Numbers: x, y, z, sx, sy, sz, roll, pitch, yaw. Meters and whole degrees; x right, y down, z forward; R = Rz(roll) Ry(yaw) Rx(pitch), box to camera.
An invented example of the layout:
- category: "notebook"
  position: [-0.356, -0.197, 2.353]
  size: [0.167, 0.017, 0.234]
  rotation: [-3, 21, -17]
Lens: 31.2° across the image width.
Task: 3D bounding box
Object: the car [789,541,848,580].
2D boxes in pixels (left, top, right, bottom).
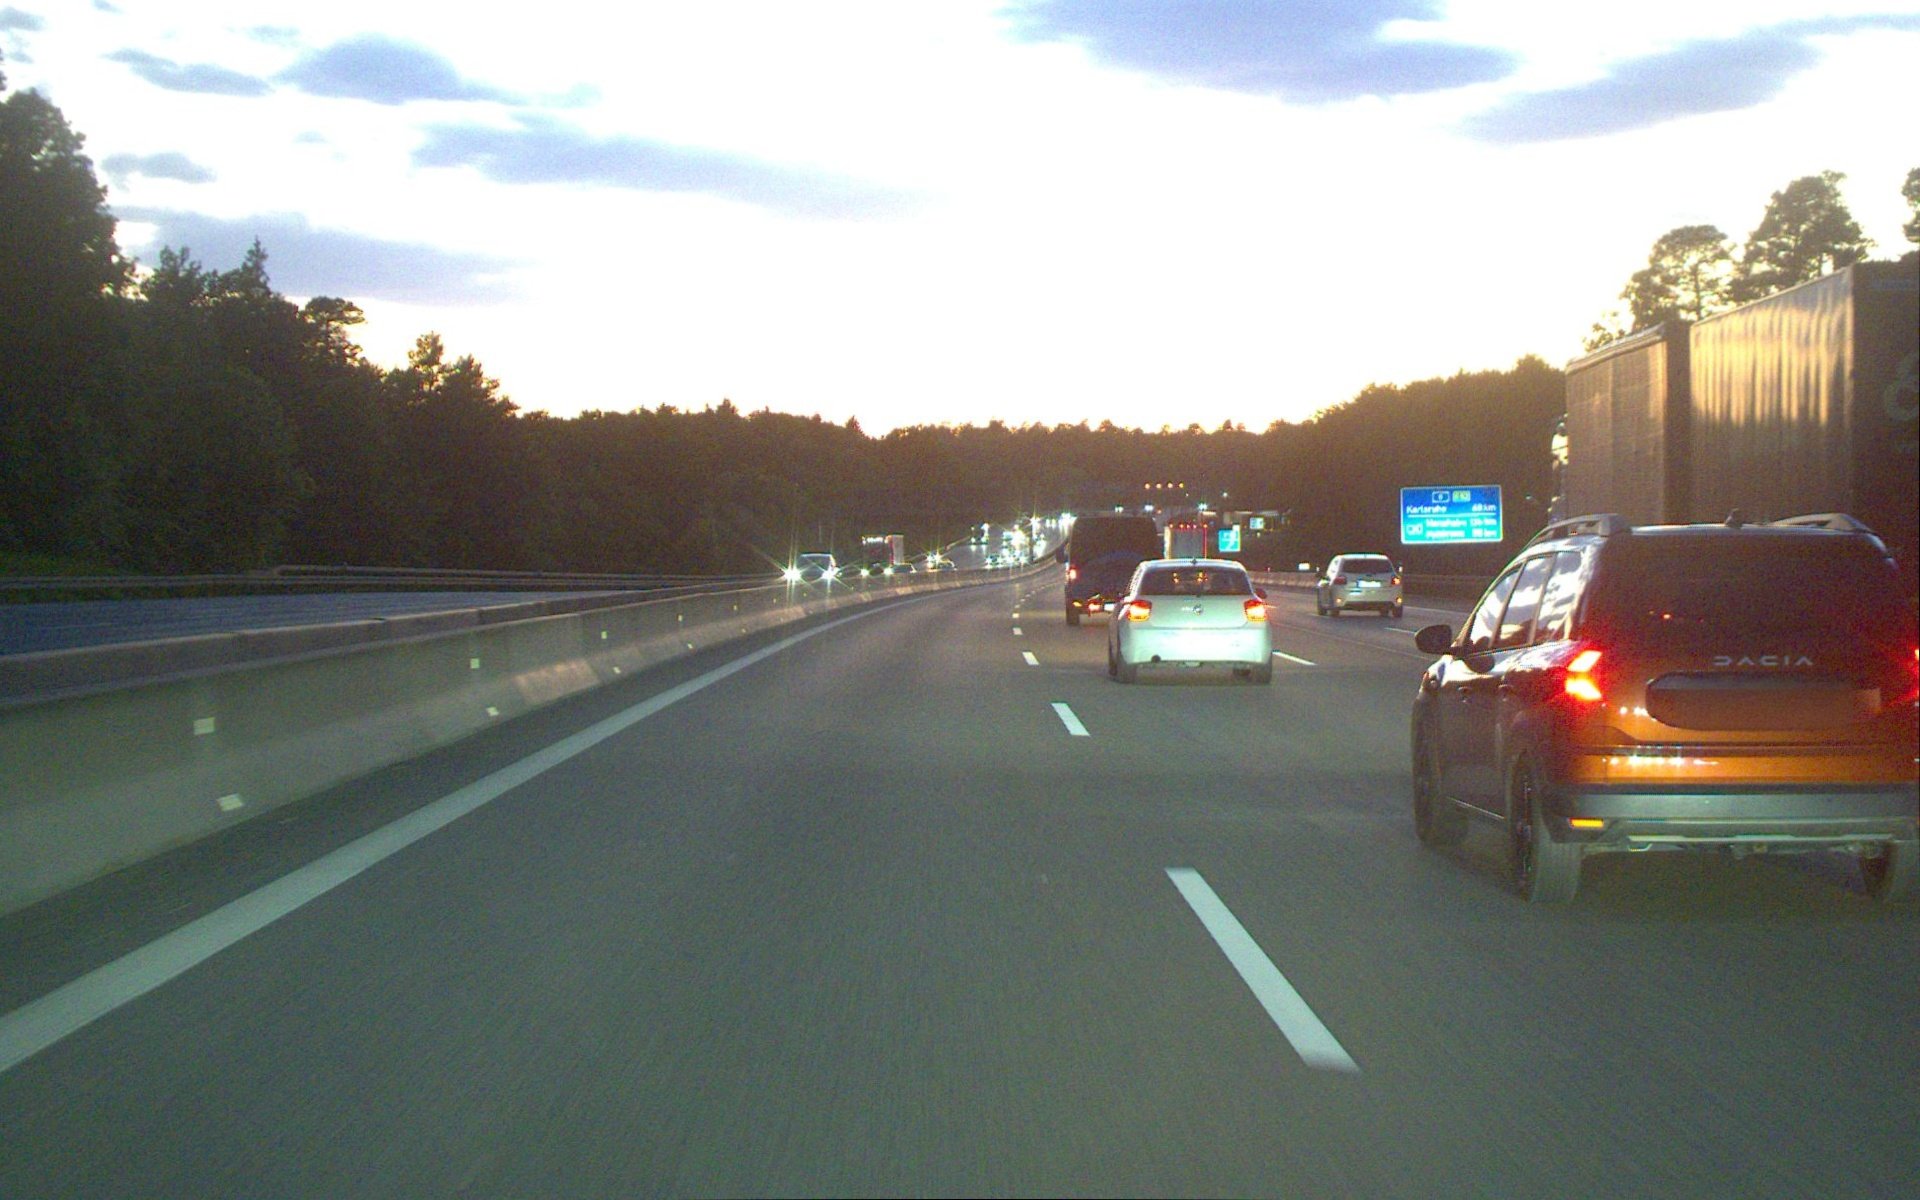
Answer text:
- category: "car"
  position: [-5.964, -1.678, 145.486]
  size: [1.994, 1.633, 5.110]
  rotation: [1, 1, 3]

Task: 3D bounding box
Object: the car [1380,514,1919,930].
- category: "car"
  position: [3.249, 0.422, 16.143]
  size: [1.903, 1.638, 5.053]
  rotation: [0, 1, 0]

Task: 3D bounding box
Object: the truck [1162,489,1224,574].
- category: "truck"
  position: [16.486, -4.829, 244.461]
  size: [4.150, 5.836, 14.295]
  rotation: [0, 1, 3]

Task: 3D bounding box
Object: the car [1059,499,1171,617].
- category: "car"
  position: [3.351, -0.898, 73.513]
  size: [2.166, 2.410, 5.563]
  rotation: [0, 1, 5]

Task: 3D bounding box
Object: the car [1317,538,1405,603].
- category: "car"
  position: [9.810, -0.729, 84.278]
  size: [2.008, 1.533, 3.999]
  rotation: [0, 1, 5]

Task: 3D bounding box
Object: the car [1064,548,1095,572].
- category: "car"
  position: [7.862, -2.602, 225.706]
  size: [1.837, 1.565, 3.999]
  rotation: [0, 1, 5]

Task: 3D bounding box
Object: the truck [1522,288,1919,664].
- category: "truck"
  position: [9.184, -1.408, 42.834]
  size: [2.885, 4.086, 10.831]
  rotation: [0, 1, 2]

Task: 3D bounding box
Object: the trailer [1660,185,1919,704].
- category: "trailer"
  position: [8.933, -1.280, 32.218]
  size: [2.907, 4.086, 10.357]
  rotation: [0, 1, 2]

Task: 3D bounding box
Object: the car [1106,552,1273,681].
- category: "car"
  position: [2.653, 0.173, 40.113]
  size: [1.859, 1.437, 3.720]
  rotation: [0, 0, 3]
